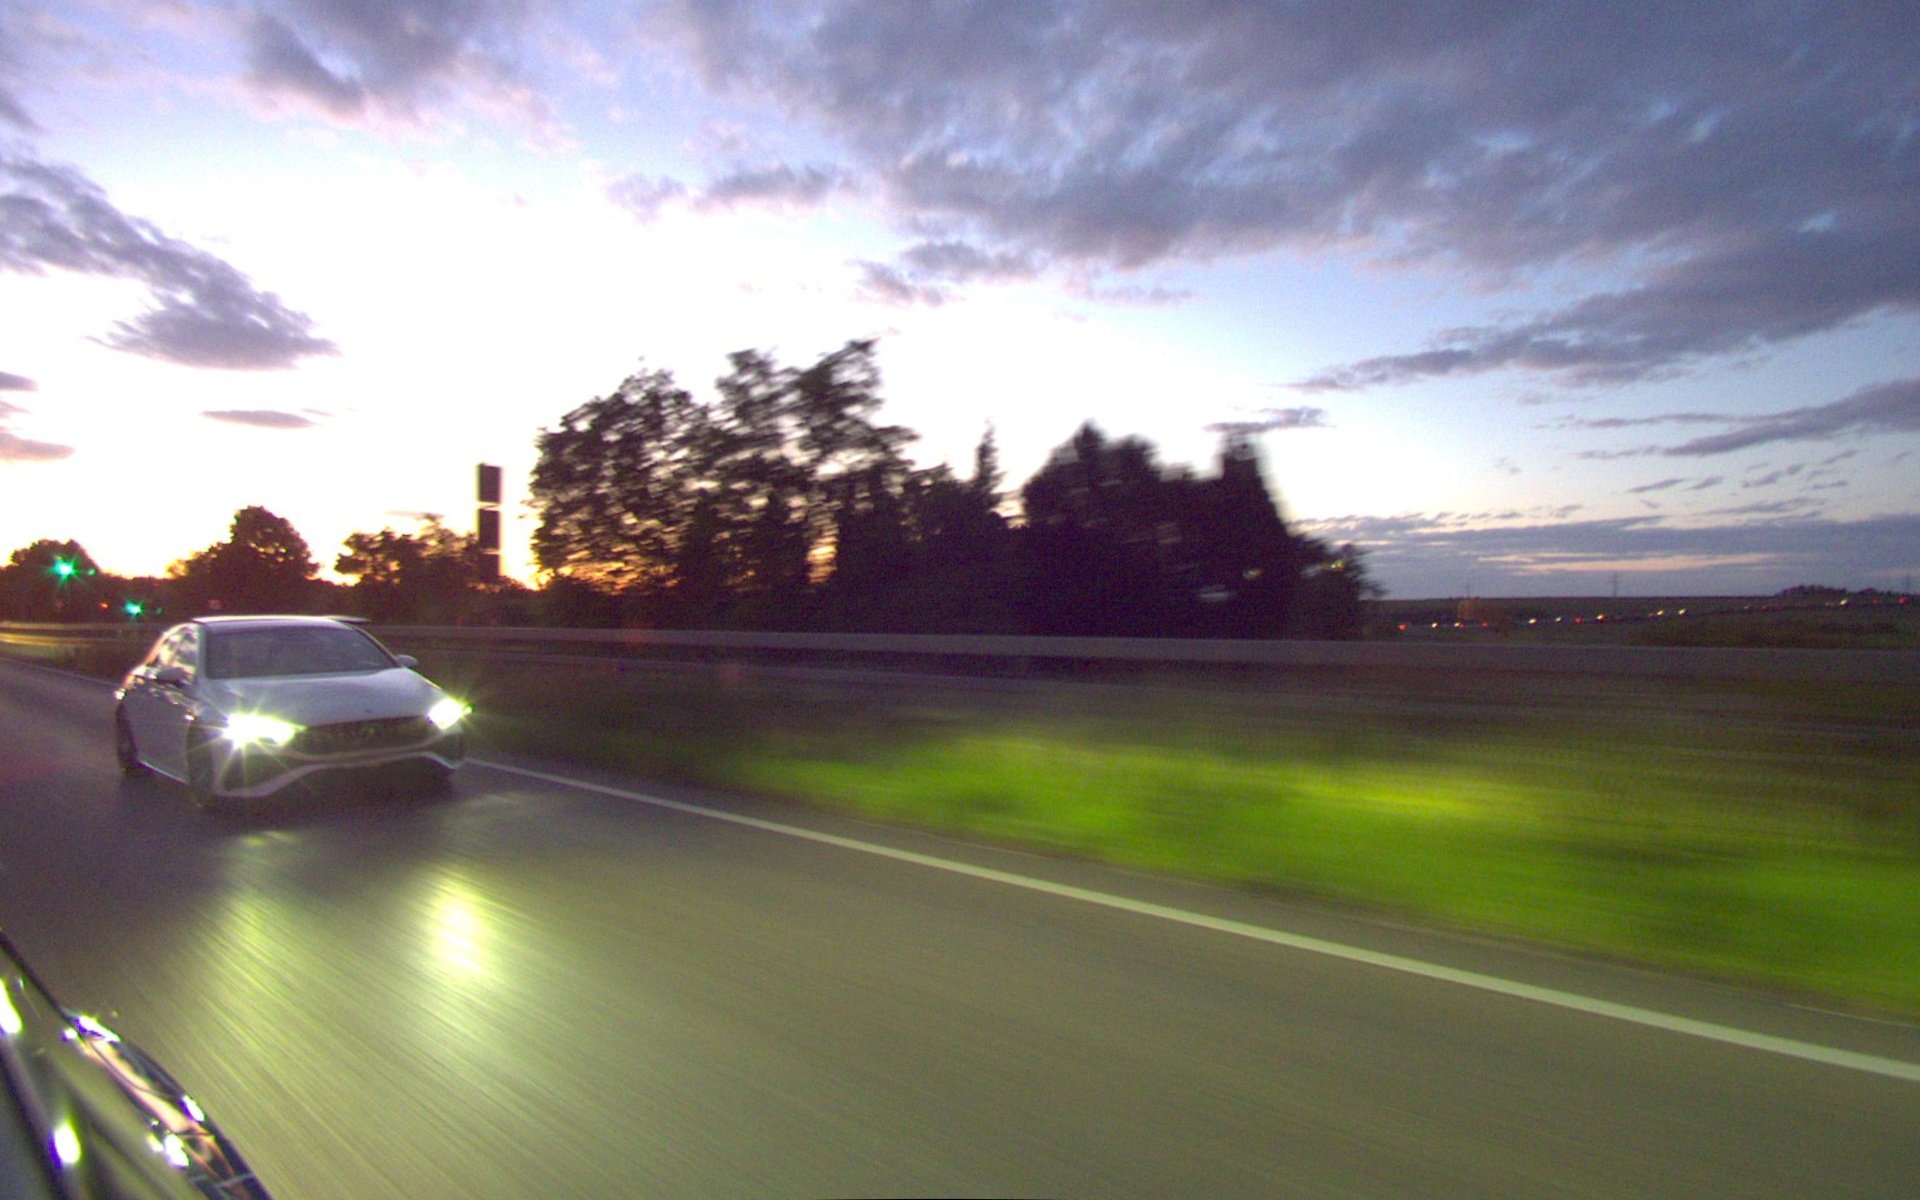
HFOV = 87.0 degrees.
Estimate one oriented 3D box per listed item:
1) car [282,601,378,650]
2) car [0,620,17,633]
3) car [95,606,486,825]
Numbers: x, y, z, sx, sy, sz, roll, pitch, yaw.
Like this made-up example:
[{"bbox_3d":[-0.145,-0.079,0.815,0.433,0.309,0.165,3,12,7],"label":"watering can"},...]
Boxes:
[{"bbox_3d":[-21.403,0.849,34.327,3.997,1.516,1.638,-1,0,41],"label":"car"},{"bbox_3d":[-112.868,3.140,119.629,4.027,1.395,1.635,-1,1,41],"label":"car"},{"bbox_3d":[-6.110,0.842,8.970,4.644,1.447,1.795,-2,-2,42],"label":"car"}]
